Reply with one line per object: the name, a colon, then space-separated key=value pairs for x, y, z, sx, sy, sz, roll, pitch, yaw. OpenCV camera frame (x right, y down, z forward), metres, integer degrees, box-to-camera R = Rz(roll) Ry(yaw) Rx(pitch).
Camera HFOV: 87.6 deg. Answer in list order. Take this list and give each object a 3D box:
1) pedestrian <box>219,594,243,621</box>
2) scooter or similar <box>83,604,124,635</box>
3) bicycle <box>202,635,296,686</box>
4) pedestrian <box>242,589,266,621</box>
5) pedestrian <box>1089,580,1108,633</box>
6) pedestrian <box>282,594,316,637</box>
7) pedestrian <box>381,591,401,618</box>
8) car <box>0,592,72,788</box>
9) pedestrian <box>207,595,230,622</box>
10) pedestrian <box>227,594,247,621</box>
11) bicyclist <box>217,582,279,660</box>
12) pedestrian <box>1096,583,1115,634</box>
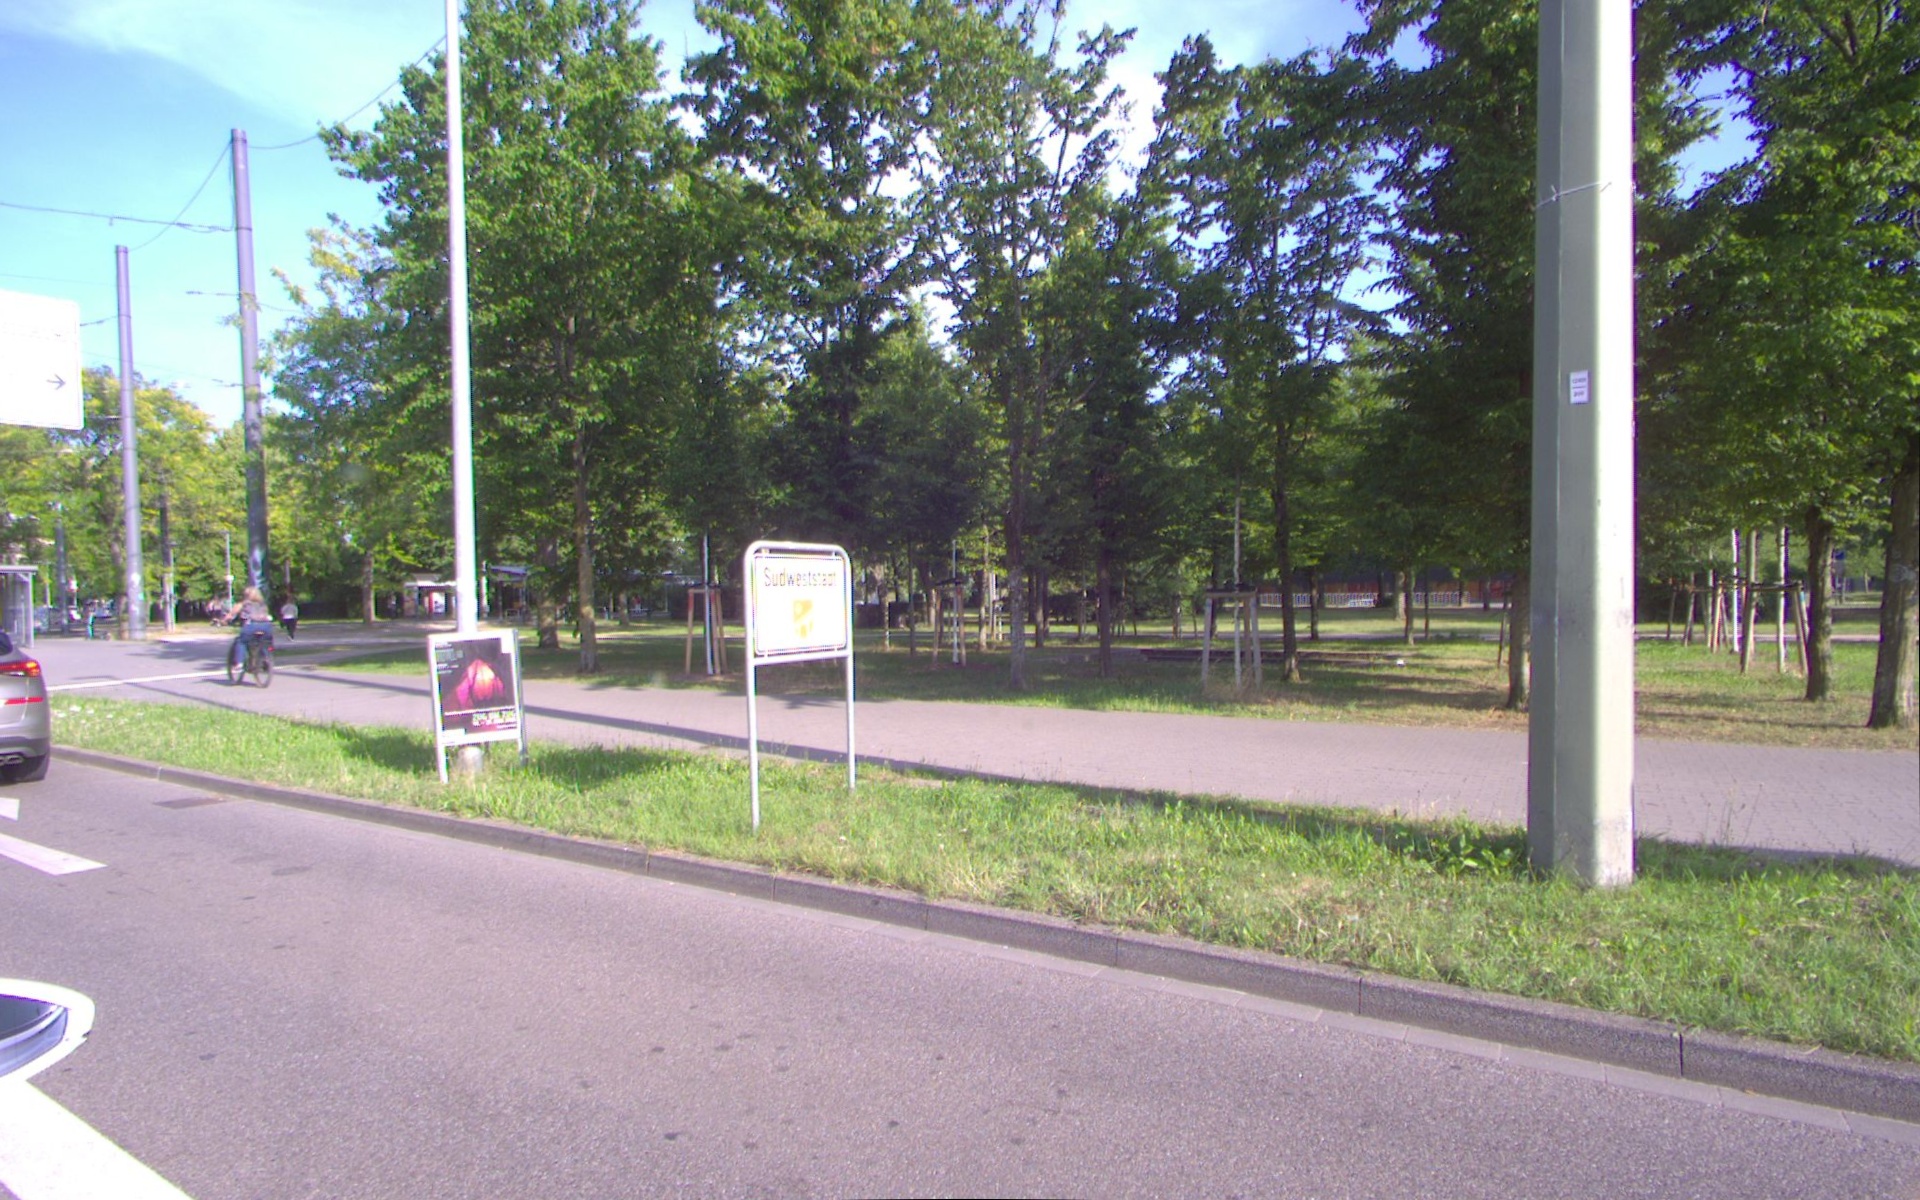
pedestrian: x=-41.110 y=0.413 z=56.447 sx=0.688 sy=1.508 sz=0.813 roll=0 pitch=1 yaw=22
scooter or similar: x=-31.552 y=0.716 z=36.882 sx=1.305 sy=1.132 sz=0.420 roll=-1 pitch=1 yaw=13
bicycle: x=-11.955 y=0.995 z=16.817 sx=2.138 sy=0.767 sz=0.494 roll=-1 pitch=2 yaw=33
pedestrian: x=-40.266 y=0.290 z=57.133 sx=0.826 sy=1.809 sz=0.798 roll=0 pitch=1 yaw=28
pedestrian: x=4.903 y=0.231 z=35.510 sx=0.617 sy=1.836 sz=0.502 roll=-1 pitch=1 yaw=6
pedestrian: x=-25.723 y=0.596 z=38.970 sx=0.793 sy=1.659 sz=0.754 roll=-1 pitch=1 yaw=-7
pedestrian: x=-35.224 y=0.264 z=62.022 sx=0.792 sy=1.659 sz=0.832 roll=0 pitch=1 yaw=38
car: x=-10.004 y=0.798 z=9.151 sx=3.595 sy=1.673 sz=1.880 roll=-1 pitch=1 yaw=32
pedestrian: x=-41.046 y=0.457 z=55.420 sx=0.687 sy=1.508 sz=0.815 roll=-1 pitch=1 yaw=-9
pedestrian: x=-40.006 y=0.403 z=55.403 sx=0.804 sy=1.508 sz=0.696 roll=-2 pitch=1 yaw=-33
bicyclist: x=-11.909 y=0.345 z=16.750 sx=0.856 sy=1.279 sz=0.533 roll=0 pitch=1 yaw=32
pedestrian: x=5.287 y=0.314 z=36.351 sx=0.617 sy=1.836 sz=0.502 roll=-1 pitch=1 yaw=3
